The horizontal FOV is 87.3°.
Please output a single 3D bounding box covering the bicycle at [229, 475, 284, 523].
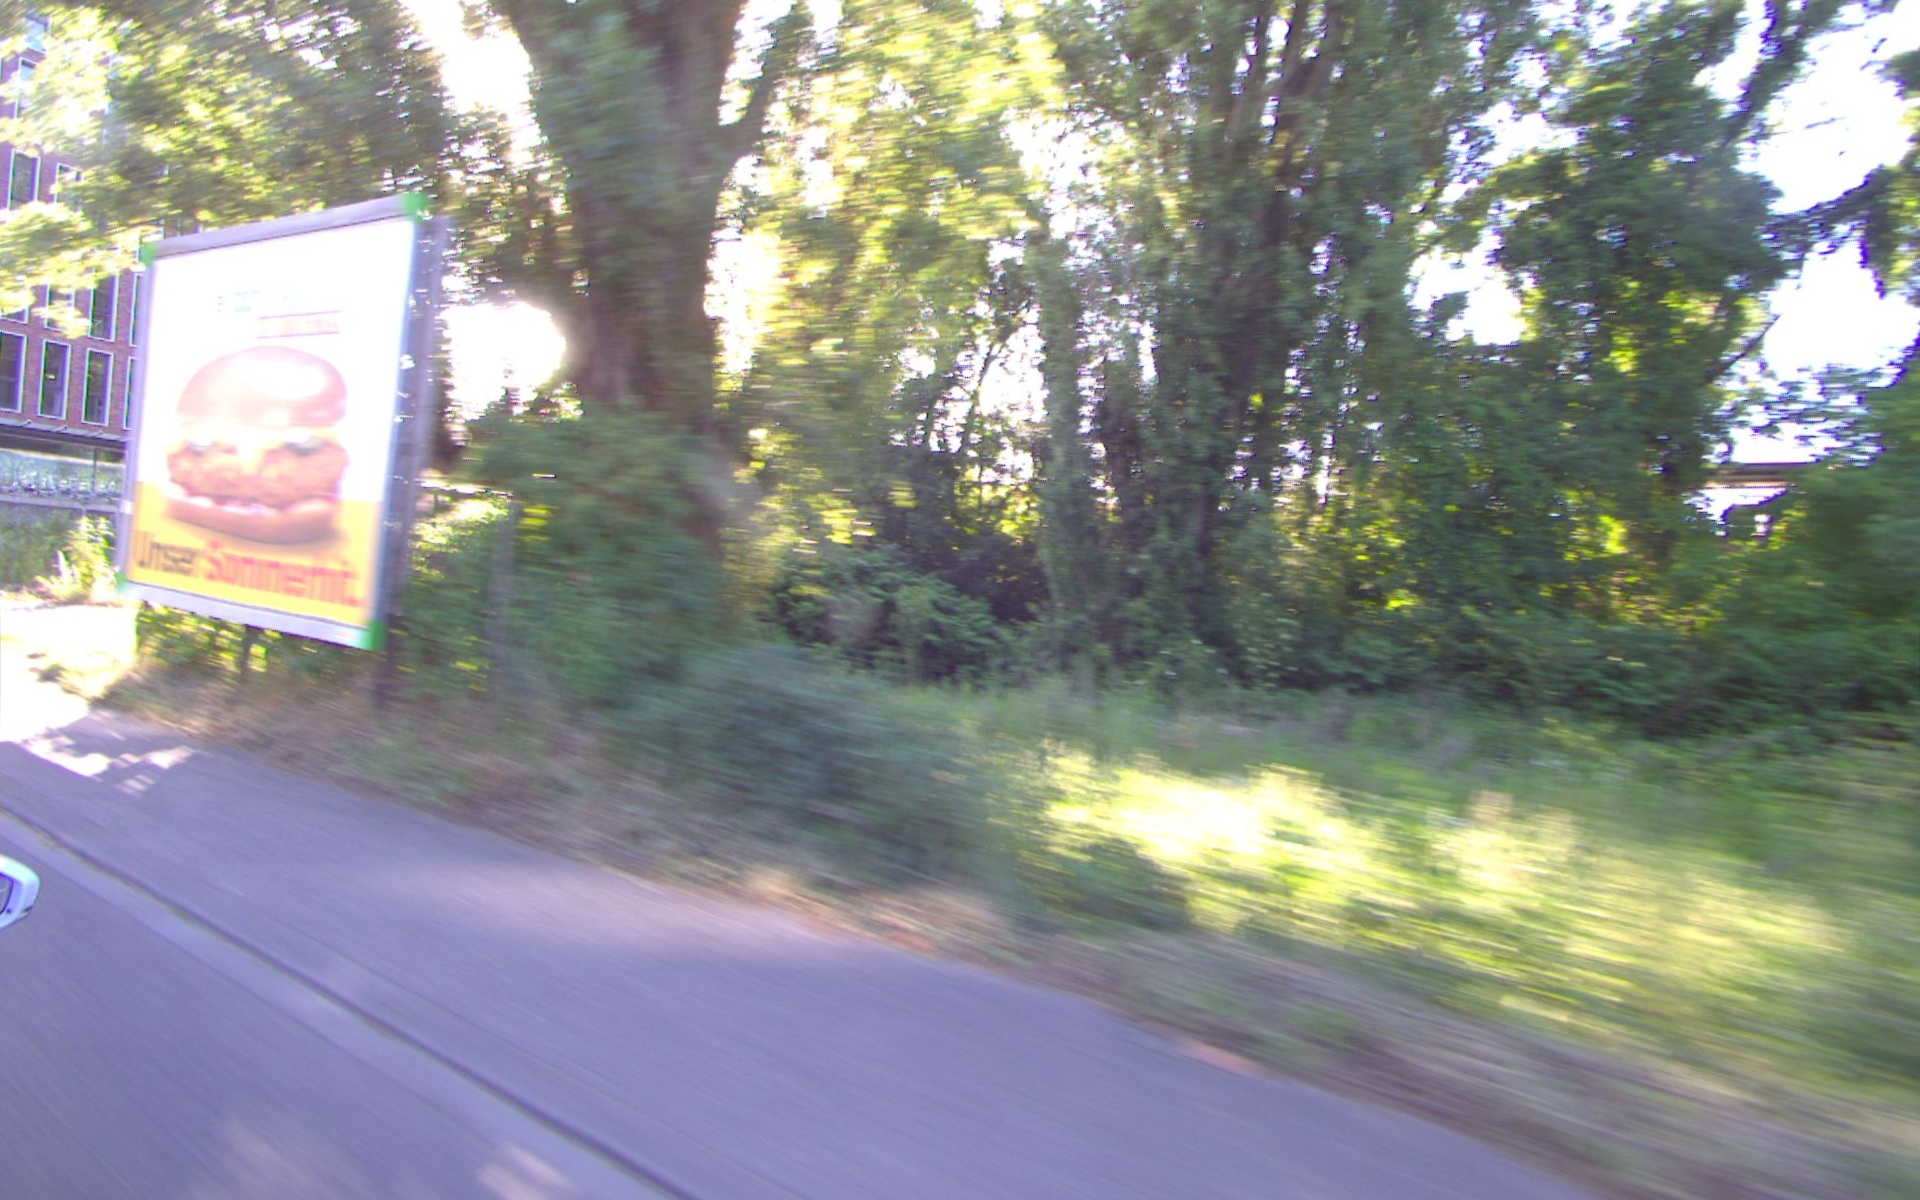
[{"bbox_3d":[-22.285,-3.204,31.847,1.957,1.338,0.631,6,1,32],"label":"bicycle"}]
